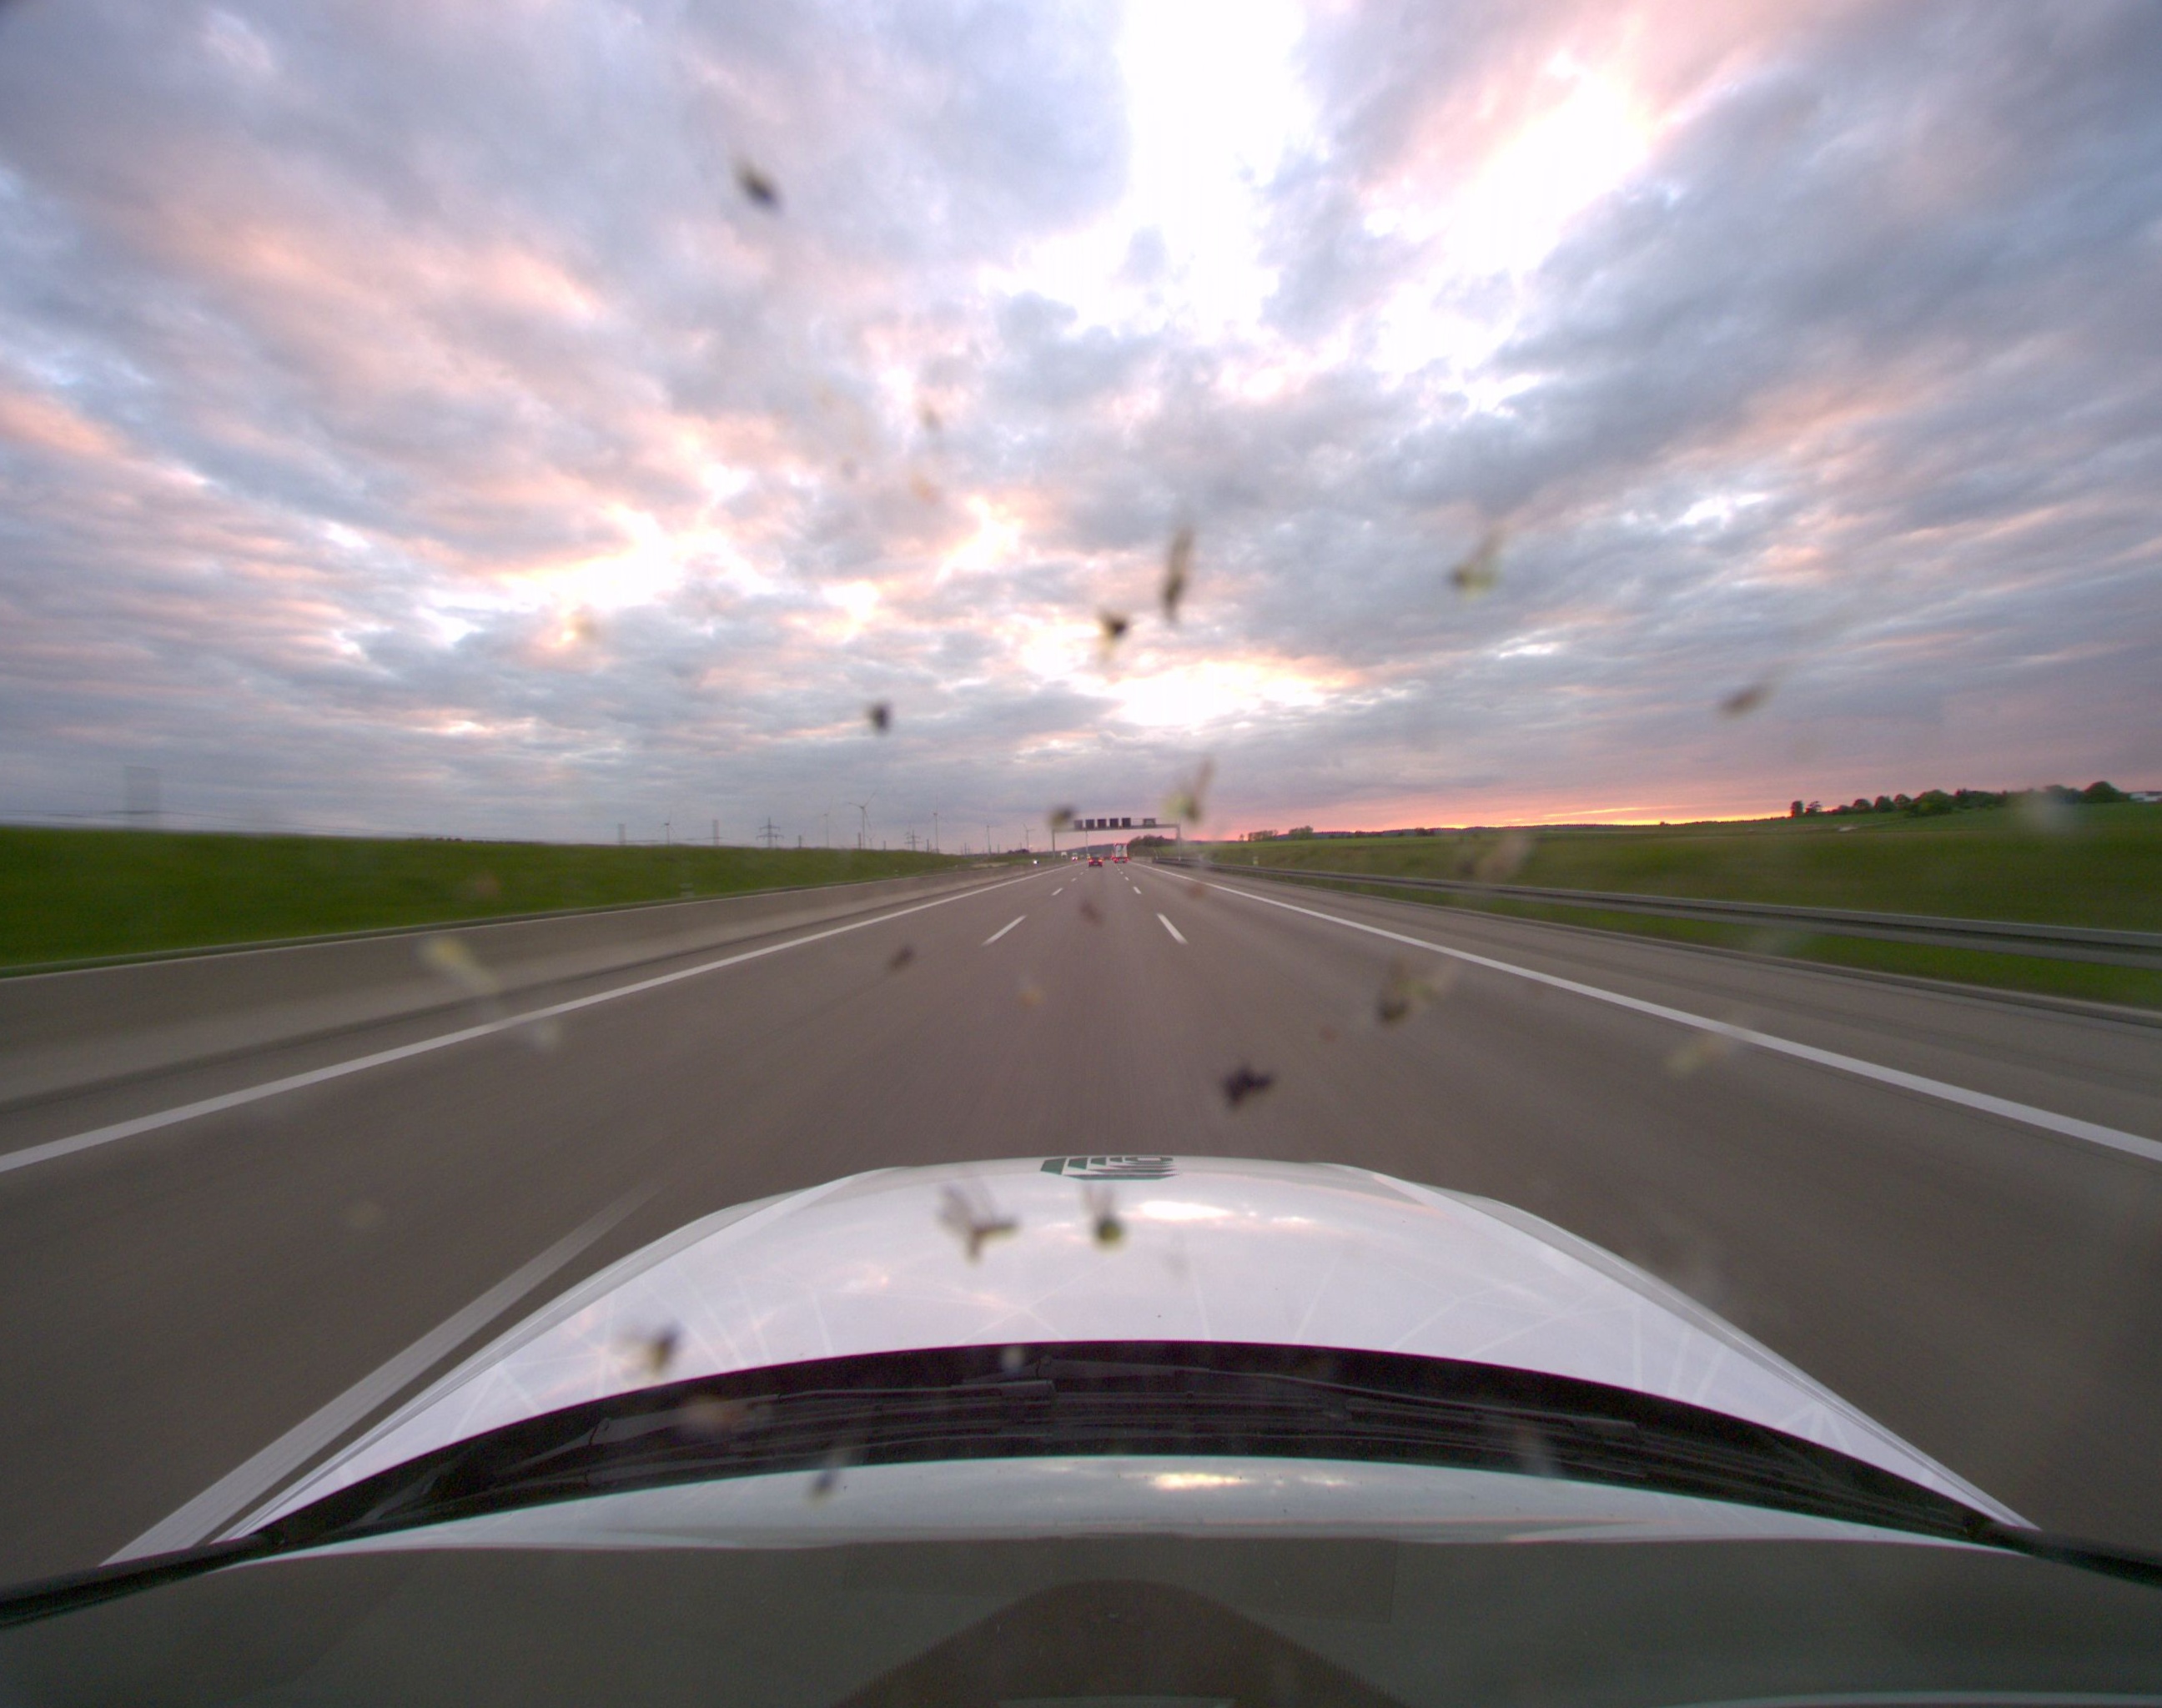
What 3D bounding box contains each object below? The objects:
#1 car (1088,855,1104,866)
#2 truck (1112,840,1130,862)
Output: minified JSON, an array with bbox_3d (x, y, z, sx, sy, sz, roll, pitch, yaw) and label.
[{"bbox_3d":[2.043,0.852,109.028,1.981,1.429,4.001,-2,0,1],"label":"car"},{"bbox_3d":[8.712,-0.705,177.499,3.661,4.565,10.986,-1,0,2],"label":"truck"}]
